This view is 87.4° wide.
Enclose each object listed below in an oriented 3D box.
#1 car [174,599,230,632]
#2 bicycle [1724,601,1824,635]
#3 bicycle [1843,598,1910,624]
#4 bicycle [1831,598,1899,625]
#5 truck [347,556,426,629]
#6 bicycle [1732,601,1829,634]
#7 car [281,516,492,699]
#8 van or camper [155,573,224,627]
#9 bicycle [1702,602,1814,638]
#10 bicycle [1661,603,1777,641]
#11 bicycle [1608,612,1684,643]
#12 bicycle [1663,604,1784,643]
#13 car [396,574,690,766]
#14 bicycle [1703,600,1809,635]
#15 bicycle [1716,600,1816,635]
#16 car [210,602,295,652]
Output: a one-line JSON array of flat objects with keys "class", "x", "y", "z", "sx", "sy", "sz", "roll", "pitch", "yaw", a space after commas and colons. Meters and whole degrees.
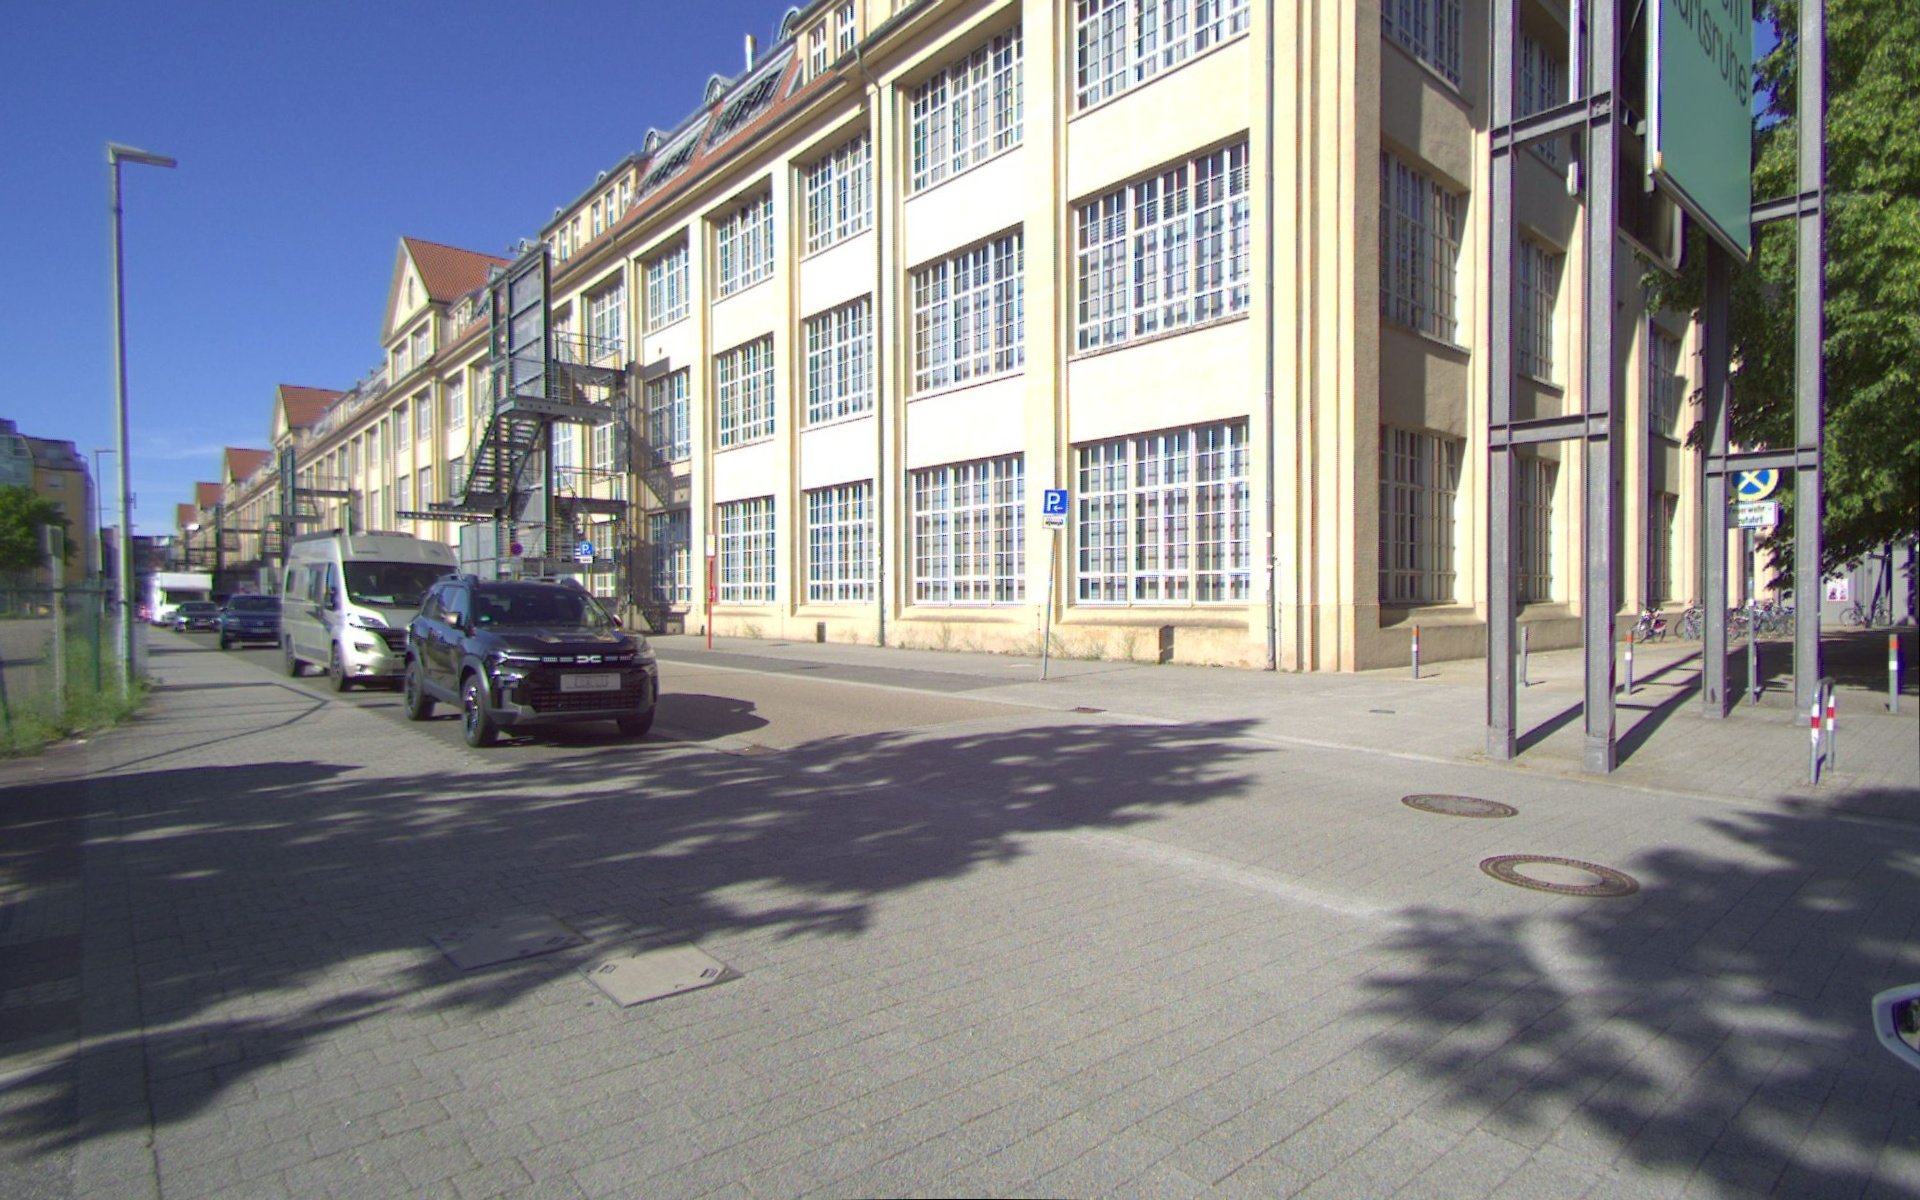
[{"class": "car", "x": -34.939, "y": 0.676, "z": 46.265, "sx": 1.836, "sy": 1.444, "sz": 4.175, "roll": 0, "pitch": 0, "yaw": -40}, {"class": "bicycle", "x": 28.905, "y": 0.616, "z": 35.723, "sx": 0.714, "sy": 1.166, "sz": 2.704, "roll": -1, "pitch": 1, "yaw": -45}, {"class": "bicycle", "x": 38.262, "y": 0.445, "z": 41.955, "sx": 0.502, "sy": 1.080, "sz": 2.041, "roll": -1, "pitch": 1, "yaw": -38}, {"class": "bicycle", "x": 37.550, "y": 0.479, "z": 41.695, "sx": 0.502, "sy": 1.080, "sz": 2.041, "roll": -1, "pitch": 1, "yaw": -38}, {"class": "truck", "x": -29.304, "y": -0.390, "z": 51.185, "sx": 2.479, "sy": 3.477, "sz": 7.048, "roll": 0, "pitch": 0, "yaw": -38}, {"class": "bicycle", "x": 30.211, "y": 0.621, "z": 37.028, "sx": 0.714, "sy": 1.166, "sz": 2.704, "roll": -1, "pitch": 1, "yaw": -45}, {"class": "car", "x": -10.204, "y": 0.111, "z": 17.567, "sx": 2.147, "sy": 2.631, "sz": 6.210, "roll": 0, "pitch": 0, "yaw": -40}, {"class": "van or camper", "x": -42.966, "y": -0.013, "z": 55.963, "sx": 2.704, "sy": 2.895, "sz": 5.071, "roll": 0, "pitch": 1, "yaw": -42}, {"class": "bicycle", "x": 25.716, "y": 0.622, "z": 32.421, "sx": 0.714, "sy": 1.077, "sz": 2.772, "roll": -1, "pitch": 1, "yaw": -45}, {"class": "bicycle", "x": 23.284, "y": 0.647, "z": 30.868, "sx": 0.713, "sy": 1.077, "sz": 2.776, "roll": -1, "pitch": 1, "yaw": -40}, {"class": "bicycle", "x": 19.540, "y": 0.762, "z": 28.579, "sx": 2.853, "sy": 0.803, "sz": 0.773, "roll": -1, "pitch": 1, "yaw": -34}, {"class": "bicycle", "x": 22.392, "y": 0.667, "z": 29.532, "sx": 0.714, "sy": 1.077, "sz": 2.772, "roll": -1, "pitch": 1, "yaw": -45}, {"class": "car", "x": -4.785, "y": 0.626, "z": 11.195, "sx": 1.983, "sy": 1.718, "sz": 4.057, "roll": 0, "pitch": 0, "yaw": -39}, {"class": "bicycle", "x": 27.124, "y": 0.579, "z": 34.286, "sx": 0.714, "sy": 1.166, "sz": 2.772, "roll": -1, "pitch": 1, "yaw": -45}, {"class": "bicycle", "x": 28.264, "y": 0.604, "z": 35.267, "sx": 0.714, "sy": 1.166, "sz": 2.704, "roll": -1, "pitch": 1, "yaw": -45}, {"class": "car", "x": -22.090, "y": 0.789, "z": 31.297, "sx": 1.836, "sy": 1.444, "sz": 4.175, "roll": 0, "pitch": 0, "yaw": -40}]
